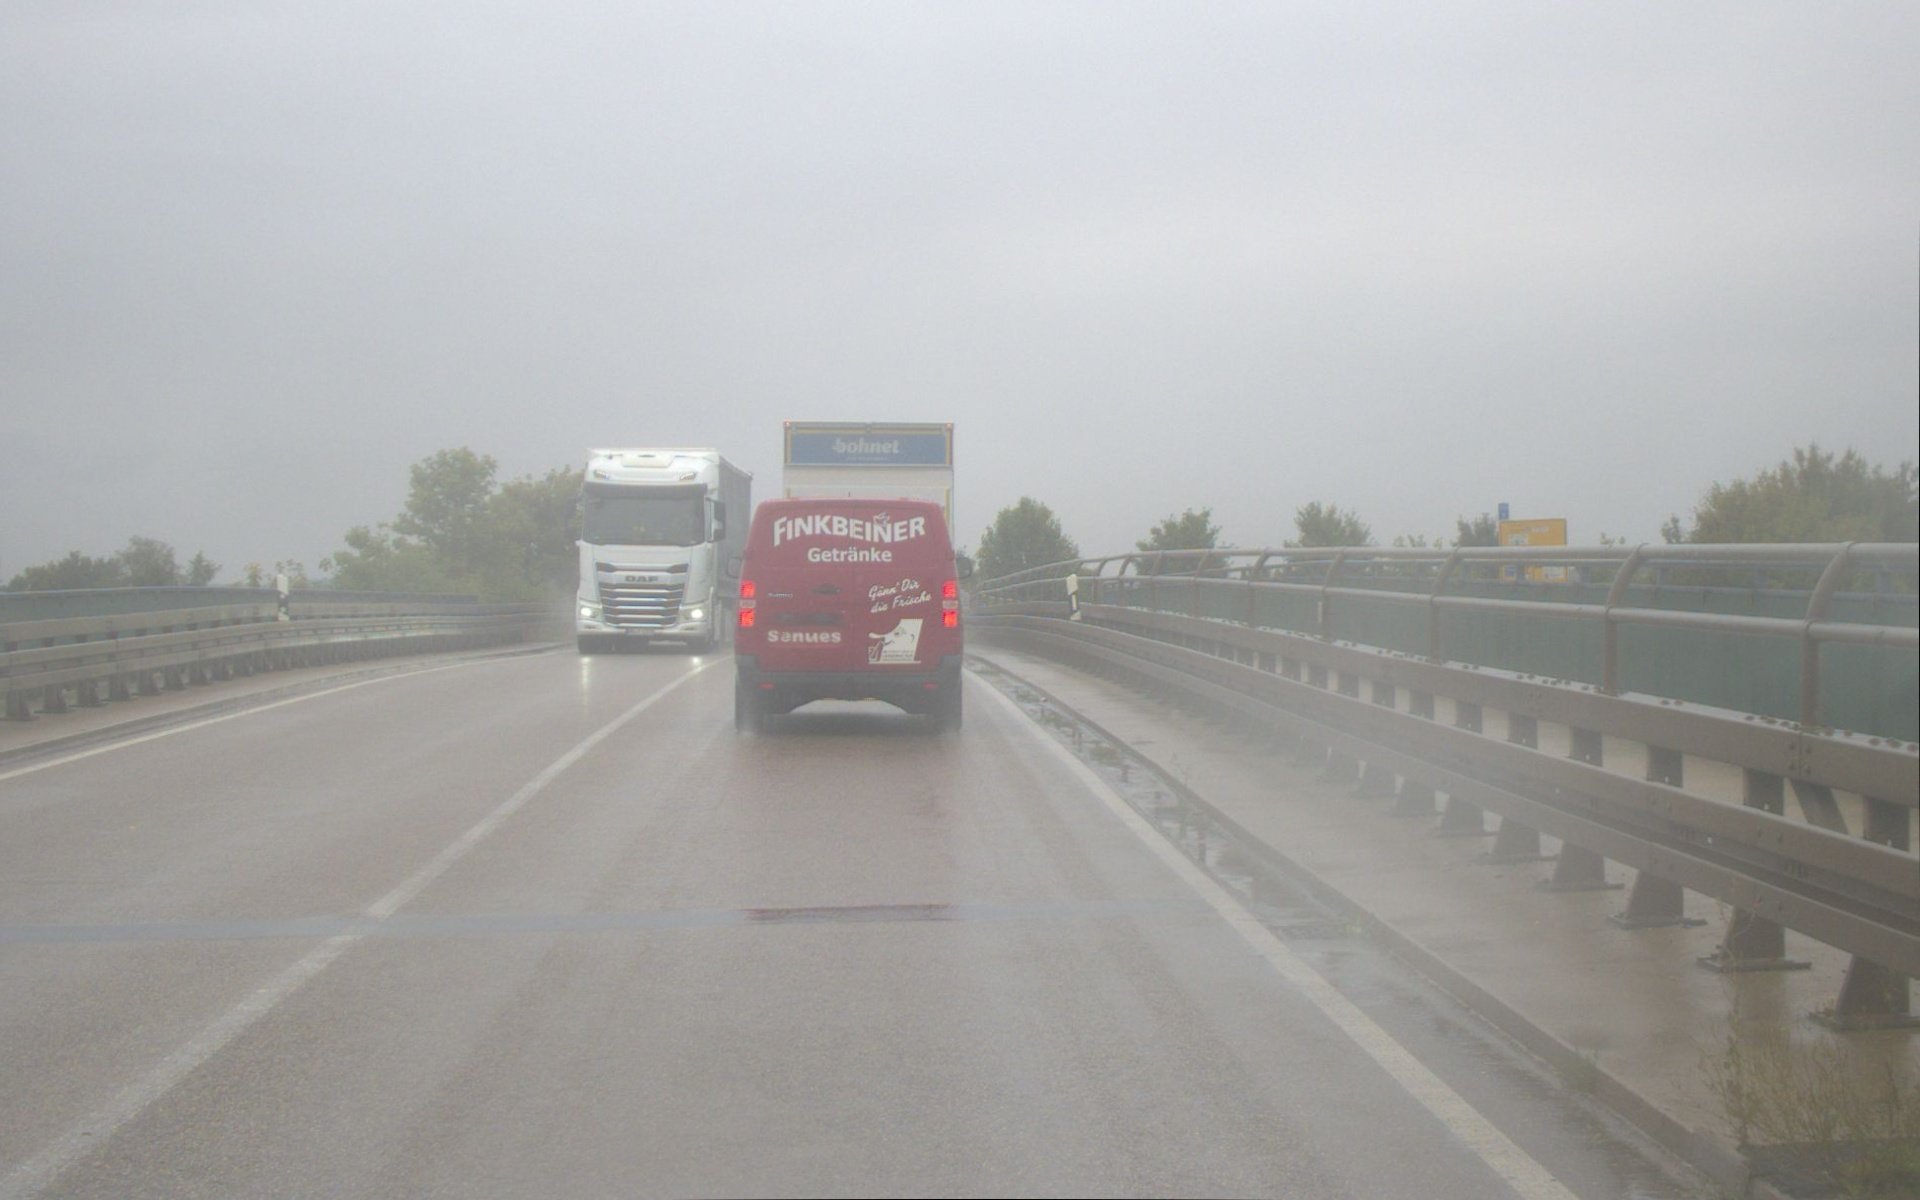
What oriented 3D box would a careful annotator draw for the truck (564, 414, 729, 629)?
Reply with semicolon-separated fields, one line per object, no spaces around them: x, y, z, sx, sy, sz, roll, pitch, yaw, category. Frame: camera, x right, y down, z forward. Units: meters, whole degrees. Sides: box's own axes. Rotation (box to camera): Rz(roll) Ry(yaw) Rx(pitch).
-6.068;-1.492;67.710;2.817;3.956;8.765;0;1;-2;truck

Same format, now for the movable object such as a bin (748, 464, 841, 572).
-5.375;-2.635;112.415;2.748;3.433;4.643;-1;0;1;movable object such as a bin

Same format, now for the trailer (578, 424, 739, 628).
-6.304;-1.530;73.682;2.817;3.956;13.737;0;1;-2;trailer

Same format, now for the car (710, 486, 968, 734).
-1.035;0.029;29.010;1.993;1.919;4.144;1;1;-3;car

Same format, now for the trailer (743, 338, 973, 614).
-1.516;-1.835;54.813;3.201;3.908;8.739;3;0;0;trailer
